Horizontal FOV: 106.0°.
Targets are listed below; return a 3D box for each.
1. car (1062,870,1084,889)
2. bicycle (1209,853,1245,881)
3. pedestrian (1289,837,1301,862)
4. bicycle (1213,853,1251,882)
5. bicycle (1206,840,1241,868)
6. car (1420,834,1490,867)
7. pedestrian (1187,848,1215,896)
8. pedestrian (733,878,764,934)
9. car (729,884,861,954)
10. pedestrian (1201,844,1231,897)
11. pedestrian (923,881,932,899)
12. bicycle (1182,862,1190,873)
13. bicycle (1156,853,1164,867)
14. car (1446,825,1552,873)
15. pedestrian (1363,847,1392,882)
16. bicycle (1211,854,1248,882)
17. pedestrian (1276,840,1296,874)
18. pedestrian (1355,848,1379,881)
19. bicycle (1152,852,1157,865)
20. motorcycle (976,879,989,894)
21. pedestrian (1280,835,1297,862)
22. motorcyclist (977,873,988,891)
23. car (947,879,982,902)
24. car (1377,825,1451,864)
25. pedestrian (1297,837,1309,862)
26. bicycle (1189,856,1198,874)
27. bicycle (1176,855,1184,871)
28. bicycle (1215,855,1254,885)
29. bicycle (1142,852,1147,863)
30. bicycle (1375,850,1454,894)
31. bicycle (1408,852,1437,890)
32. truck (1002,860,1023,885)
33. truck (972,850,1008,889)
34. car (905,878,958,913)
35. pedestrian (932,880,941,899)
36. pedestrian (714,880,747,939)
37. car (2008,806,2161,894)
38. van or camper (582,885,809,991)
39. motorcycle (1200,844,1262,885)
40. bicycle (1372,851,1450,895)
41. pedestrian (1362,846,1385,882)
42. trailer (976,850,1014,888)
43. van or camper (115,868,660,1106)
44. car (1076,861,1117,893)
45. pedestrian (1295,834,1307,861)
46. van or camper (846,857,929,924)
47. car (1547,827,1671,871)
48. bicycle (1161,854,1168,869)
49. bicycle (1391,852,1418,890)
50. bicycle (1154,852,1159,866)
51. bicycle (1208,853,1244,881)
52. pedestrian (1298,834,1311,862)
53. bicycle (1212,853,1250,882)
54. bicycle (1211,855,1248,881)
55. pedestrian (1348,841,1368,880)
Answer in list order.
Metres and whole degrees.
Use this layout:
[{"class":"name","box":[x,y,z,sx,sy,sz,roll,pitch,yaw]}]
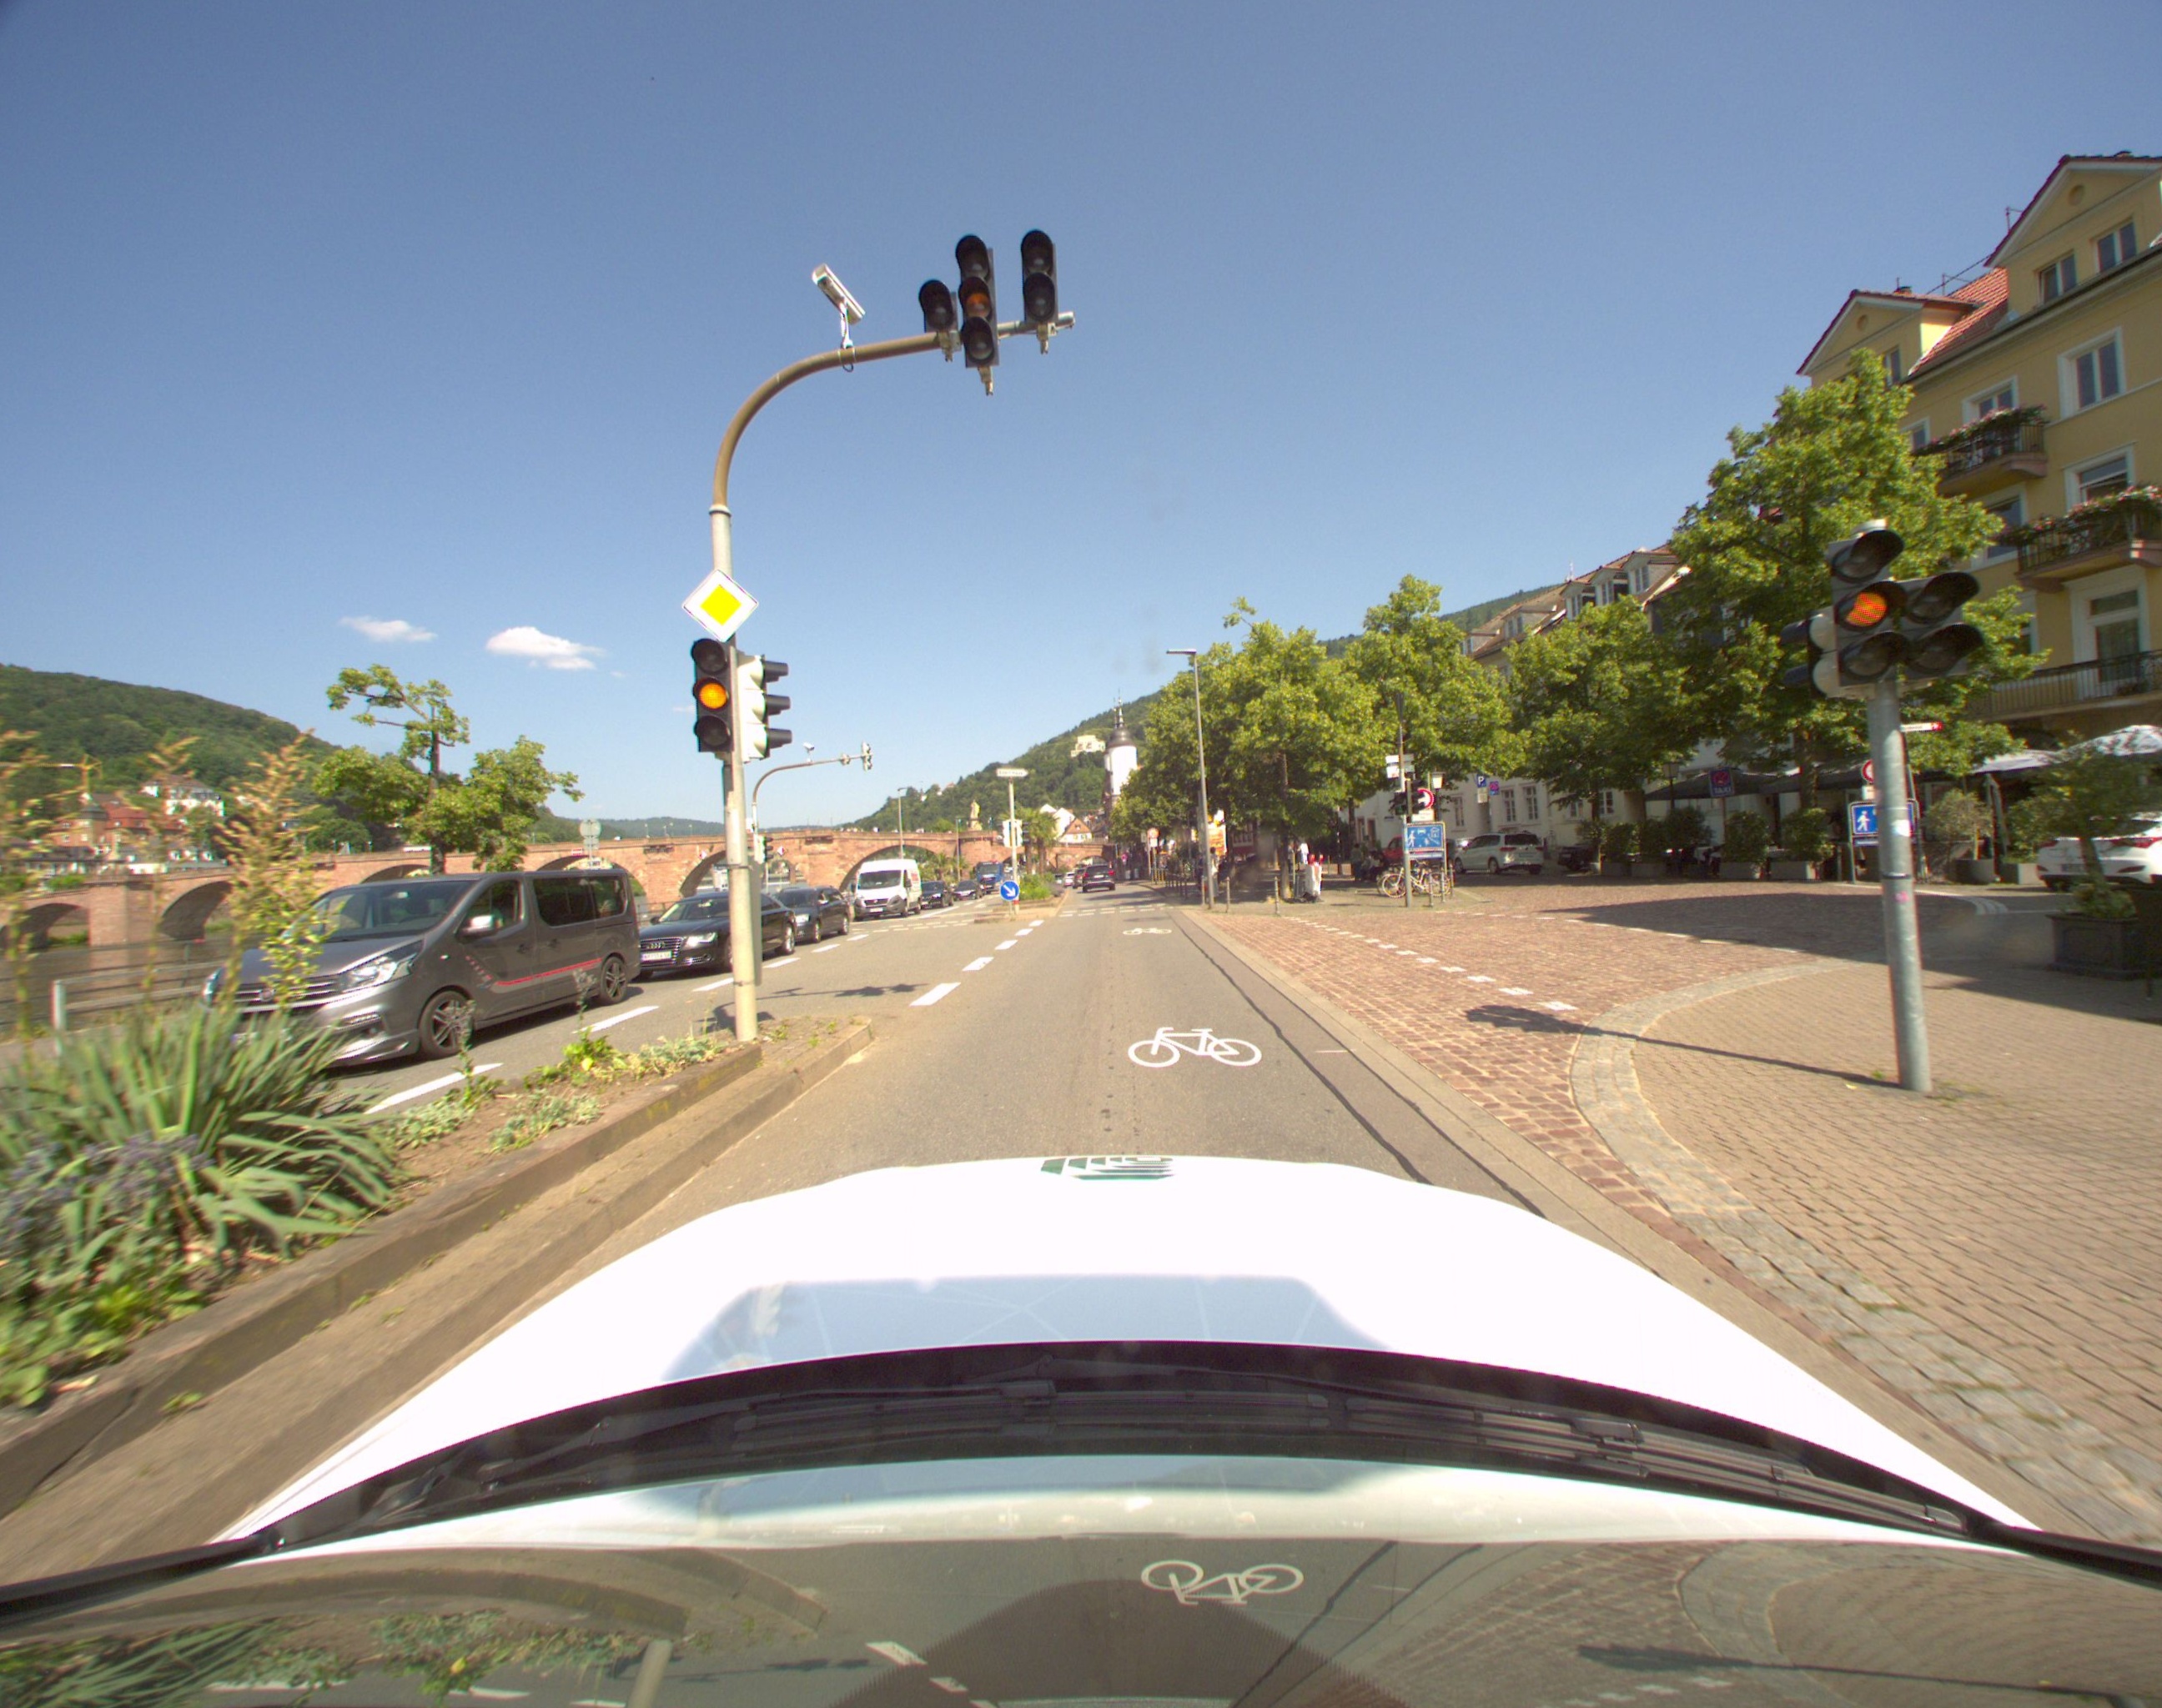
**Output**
[{"class":"car","box":[-0.765,2.402,78.338,1.987,1.553,4.831,-4,0,0]},{"class":"bicycle","box":[6.543,0.596,36.521,1.482,1.120,0.250,-5,-1,-6]},{"class":"pedestrian","box":[15.626,-0.320,59.559,0.584,1.809,0.596,-4,0,-1]},{"class":"bicycle","box":[6.421,0.568,34.630,1.482,1.120,0.377,-5,-1,-6]},{"class":"bicycle","box":[8.047,0.008,45.850,1.825,1.483,0.285,-4,-1,-3]},{"class":"car","box":[18.307,-0.129,40.013,1.670,1.432,3.468,-4,-1,-3]},{"class":"pedestrian","box":[4.336,0.649,29.461,0.693,1.677,0.762,-5,0,-8]},{"class":"pedestrian","box":[-10.799,1.678,26.495,0.693,1.780,0.762,2,-1,-8]},{"class":"car","box":[-7.730,1.698,22.546,1.946,1.408,4.568,-6,0,-1]},{"class":"pedestrian","box":[4.758,0.578,28.796,0.693,1.771,0.762,-5,0,-8]},{"class":"pedestrian","box":[-14.992,3.520,79.691,0.761,1.780,0.694,-3,-1,-8]},{"class":"bicycle","box":[6.413,0.811,49.725,0.249,0.664,1.468,-4,-1,-2]},{"class":"bicycle","box":[6.217,0.478,63.955,0.274,1.096,1.488,-8,-1,0]},{"class":"car","box":[16.495,-0.184,32.408,1.763,1.728,4.566,-2,0,-1]},{"class":"pedestrian","box":[11.317,0.397,31.096,0.693,1.252,0.762,-4,0,-8]},{"class":"bicycle","box":[6.442,0.603,35.424,1.482,1.120,0.293,-5,-1,-6]},{"class":"pedestrian","box":[10.396,0.157,41.269,0.705,1.653,0.707,-4,-1,0]},{"class":"pedestrian","box":[11.419,0.410,32.547,0.625,1.281,0.752,-1,-1,-8]},{"class":"bicycle","box":[6.161,0.401,68.287,0.249,1.096,1.488,-2,-1,0]},{"class":"motorcycle","box":[-8.261,2.713,68.487,0.755,1.131,2.454,-4,-1,-1]},{"class":"pedestrian","box":[15.388,-0.384,60.435,0.965,1.915,0.747,-4,-1,0]},{"class":"motorcyclist","box":[-8.272,2.362,68.505,0.734,1.470,1.011,-4,-1,-1]},{"class":"car","box":[-8.430,2.637,59.204,1.947,1.412,4.215,-6,-2,-2]},{"class":"car","box":[18.264,-0.502,44.917,1.989,1.902,4.629,-4,0,-2]},{"class":"pedestrian","box":[16.200,-0.324,59.550,0.584,1.840,0.596,-4,0,-1]},{"class":"bicycle","box":[6.431,0.610,46.586,0.249,1.010,1.487,-4,-1,-2]},{"class":"bicycle","box":[6.403,0.602,52.773,0.249,1.000,1.487,-2,-1,-2]},{"class":"bicycle","box":[6.460,0.668,34.246,1.480,1.120,0.294,-5,-1,-3]},{"class":"bicycle","box":[6.150,0.335,78.998,0.354,1.096,1.491,-2,-1,5]},{"class":"bicycle","box":[9.424,0.510,23.037,1.985,1.198,0.523,-1,0,11]},{"class":"bicycle","box":[10.331,0.495,24.671,0.589,1.067,2.075,-4,-2,19]},{"class":"truck","box":[-9.773,2.644,117.040,2.652,3.403,5.130,-4,-1,-3]},{"class":"truck","box":[-8.574,1.454,77.221,2.649,3.403,4.449,-4,-1,0]},{"class":"car","box":[-7.914,2.165,43.547,1.813,1.455,4.927,-6,0,-1]},{"class":"pedestrian","box":[-14.206,3.505,79.891,0.761,1.780,0.694,-3,-1,-8]},{"class":"pedestrian","box":[-10.966,1.720,25.478,0.693,1.780,0.762,2,-1,-8]},{"class":"car","box":[19.966,-0.139,14.938,3.977,1.455,1.832,-2,1,-3]},{"class":"van or camper","box":[-7.237,1.485,16.052,1.988,1.476,5.063,-5,-1,-1]},{"class":"motorcycle","box":[6.033,0.441,32.899,2.269,1.465,0.769,-6,-2,40]},{"class":"bicycle","box":[9.513,0.546,23.540,1.998,1.198,0.523,-2,0,11]},{"class":"pedestrian","box":[11.443,0.376,31.883,0.625,1.382,0.540,-1,-1,-8]},{"class":"trailer","box":[-8.567,1.476,81.848,2.649,3.403,8.825,-4,-1,0]},{"class":"van or camper","box":[-7.419,1.207,9.734,1.988,1.873,5.177,-4,-1,-1]},{"class":"car","box":[0.816,1.268,45.990,1.922,1.553,4.827,-5,0,-2]},{"class":"pedestrian","box":[16.974,-0.522,62.749,0.584,2.013,0.596,-4,-1,-1]},{"class":"van or camper","box":[-8.098,1.475,34.685,1.987,2.449,5.493,-5,-1,0]},{"class":"car","box":[20.334,-0.184,31.437,3.732,1.432,1.620,-4,-1,-3]},{"class":"bicycle","box":[6.189,0.529,60.383,0.344,1.096,1.488,-2,-1,0]},{"class":"bicycle","box":[9.869,0.511,24.912,0.589,1.067,2.075,-4,-1,19]},{"class":"bicycle","box":[6.171,0.396,66.360,0.249,1.096,1.488,-2,-1,0]},{"class":"bicycle","box":[6.433,0.592,36.249,1.482,1.120,0.250,-5,-1,-6]},{"class":"pedestrian","box":[16.573,-0.459,60.322,0.633,2.013,0.644,-4,0,-1]},{"class":"bicycle","box":[6.463,0.572,35.128,1.482,1.120,0.293,-5,-1,-6]},{"class":"bicycle","box":[6.565,0.628,36.010,1.482,1.031,0.293,-5,-1,-6]},{"class":"pedestrian","box":[10.937,0.264,32.174,0.459,1.517,0.688,-2,-1,-8]}]
